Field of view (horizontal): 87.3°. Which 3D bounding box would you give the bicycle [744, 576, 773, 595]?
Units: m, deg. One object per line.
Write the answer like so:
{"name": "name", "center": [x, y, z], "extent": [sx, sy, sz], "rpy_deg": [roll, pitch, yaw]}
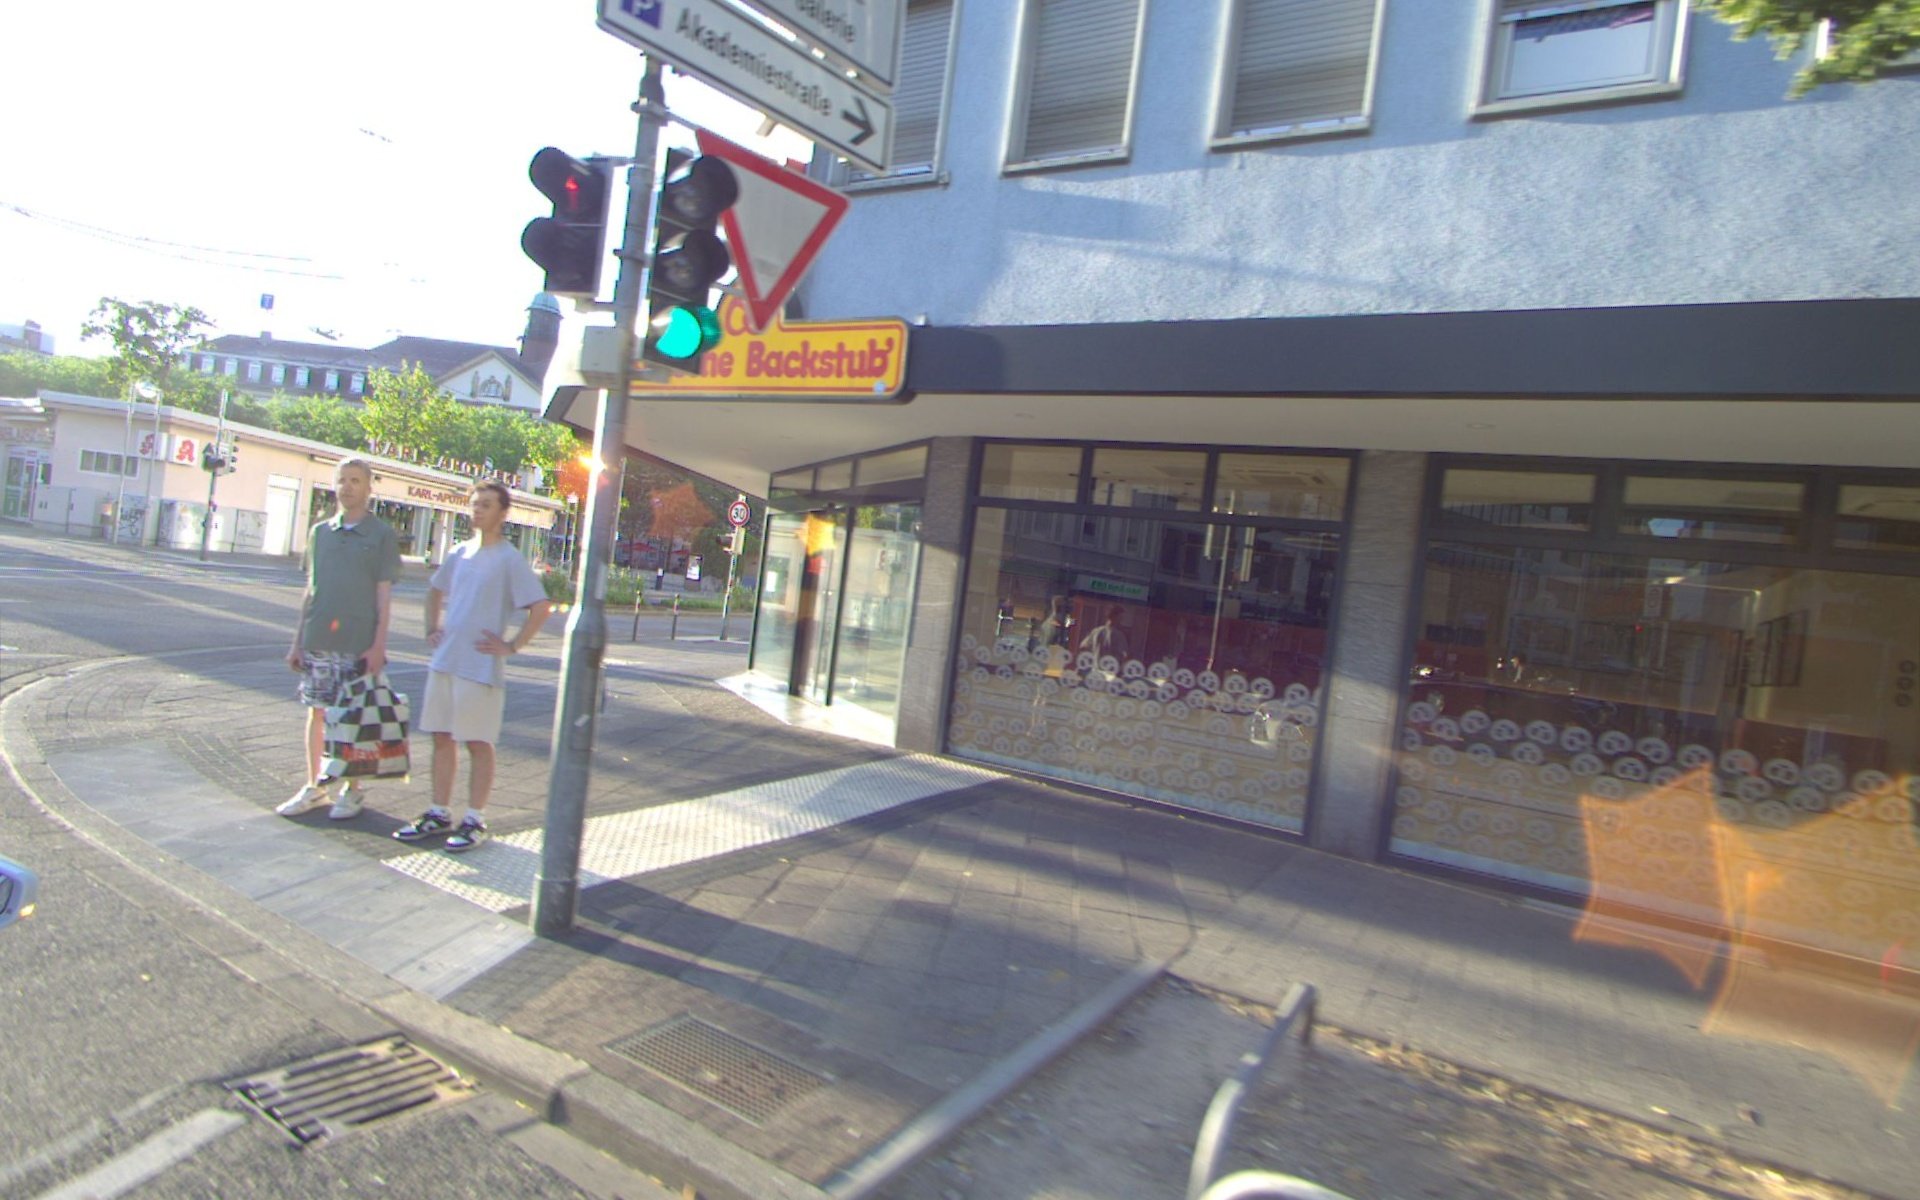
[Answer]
{"name": "bicycle", "center": [-16.823, -1.203, 84.003], "extent": [2.162, 1.315, 0.580], "rpy_deg": [8, -1, 7]}

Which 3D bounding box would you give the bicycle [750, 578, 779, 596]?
{"name": "bicycle", "center": [-16.596, -1.110, 85.404], "extent": [2.206, 1.269, 0.580], "rpy_deg": [8, -1, 7]}

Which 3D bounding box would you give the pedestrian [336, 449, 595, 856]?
{"name": "pedestrian", "center": [-2.412, 0.241, 4.966], "extent": [0.735, 1.795, 0.639], "rpy_deg": [7, 1, 10]}

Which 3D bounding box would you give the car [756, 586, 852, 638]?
{"name": "car", "center": [-4.829, 0.428, 31.746], "extent": [1.647, 1.297, 4.067], "rpy_deg": [8, -1, 10]}

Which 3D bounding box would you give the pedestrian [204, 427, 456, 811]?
{"name": "pedestrian", "center": [-3.234, 0.099, 5.217], "extent": [0.736, 1.795, 0.586], "rpy_deg": [7, 1, 0]}

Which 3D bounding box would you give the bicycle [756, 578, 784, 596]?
{"name": "bicycle", "center": [-16.460, -1.097, 87.059], "extent": [2.206, 1.246, 0.585], "rpy_deg": [8, 0, 7]}
